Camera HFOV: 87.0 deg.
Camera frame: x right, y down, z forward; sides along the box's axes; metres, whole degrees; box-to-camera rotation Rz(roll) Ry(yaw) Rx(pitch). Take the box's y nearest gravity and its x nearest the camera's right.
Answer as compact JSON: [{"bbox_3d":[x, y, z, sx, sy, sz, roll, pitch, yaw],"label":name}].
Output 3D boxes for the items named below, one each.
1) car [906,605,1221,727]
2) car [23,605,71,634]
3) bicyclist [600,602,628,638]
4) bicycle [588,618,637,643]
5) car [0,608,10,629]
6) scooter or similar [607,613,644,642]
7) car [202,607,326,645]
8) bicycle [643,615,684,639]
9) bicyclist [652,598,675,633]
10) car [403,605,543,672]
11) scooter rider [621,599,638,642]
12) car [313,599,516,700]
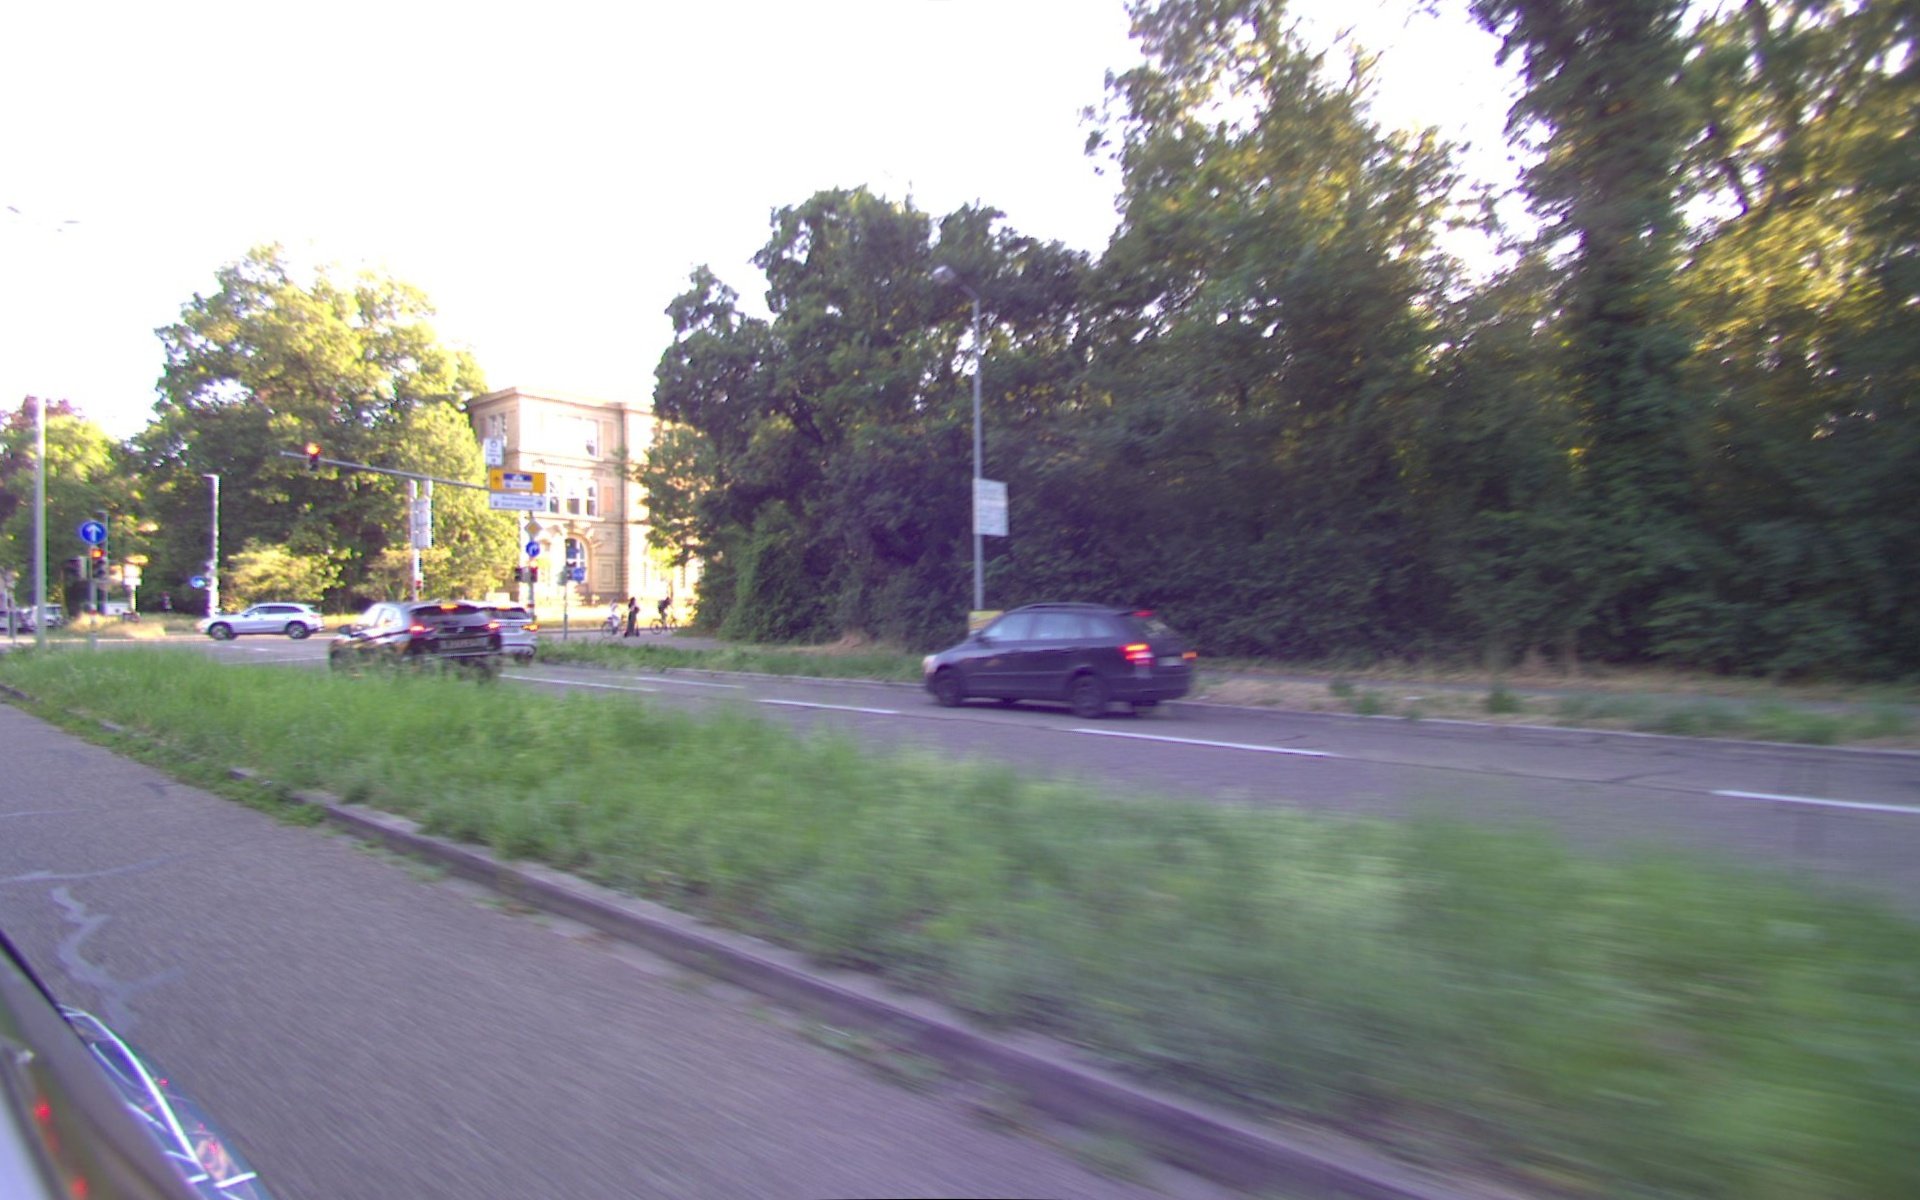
[{"bbox_3d":[1.378,0.855,14.487,4.230,1.491,1.804,-1,-2,41],"label":"car"},{"bbox_3d":[-60.252,1.277,66.775,4.117,1.859,1.838,-1,-1,40],"label":"car"},{"bbox_3d":[-14.945,0.839,43.724,0.759,1.529,0.848,0,0,30],"label":"bicyclist"},{"bbox_3d":[-14.968,1.294,43.670,0.770,1.014,1.996,0,0,29],"label":"bicycle"},{"bbox_3d":[-76.656,1.483,80.061,3.999,1.655,1.911,-1,-1,42],"label":"car"},{"bbox_3d":[-14.170,1.173,42.858,0.563,1.198,1.402,-1,-1,41],"label":"scooter or similar"},{"bbox_3d":[-31.646,1.145,46.149,4.434,1.648,1.776,0,-1,-26],"label":"car"},{"bbox_3d":[-14.121,1.264,48.181,0.700,1.071,1.801,1,0,40],"label":"bicycle"},{"bbox_3d":[-14.110,0.735,48.196,0.700,1.679,0.787,1,0,40],"label":"bicyclist"},{"bbox_3d":[-12.943,0.992,26.767,4.642,1.625,1.801,-1,-3,44],"label":"car"},{"bbox_3d":[-14.047,0.871,43.002,0.567,1.780,0.498,-1,-1,42],"label":"scooter rider"},{"bbox_3d":[-10.069,0.847,18.548,4.449,1.640,1.795,-1,-2,41],"label":"car"}]
